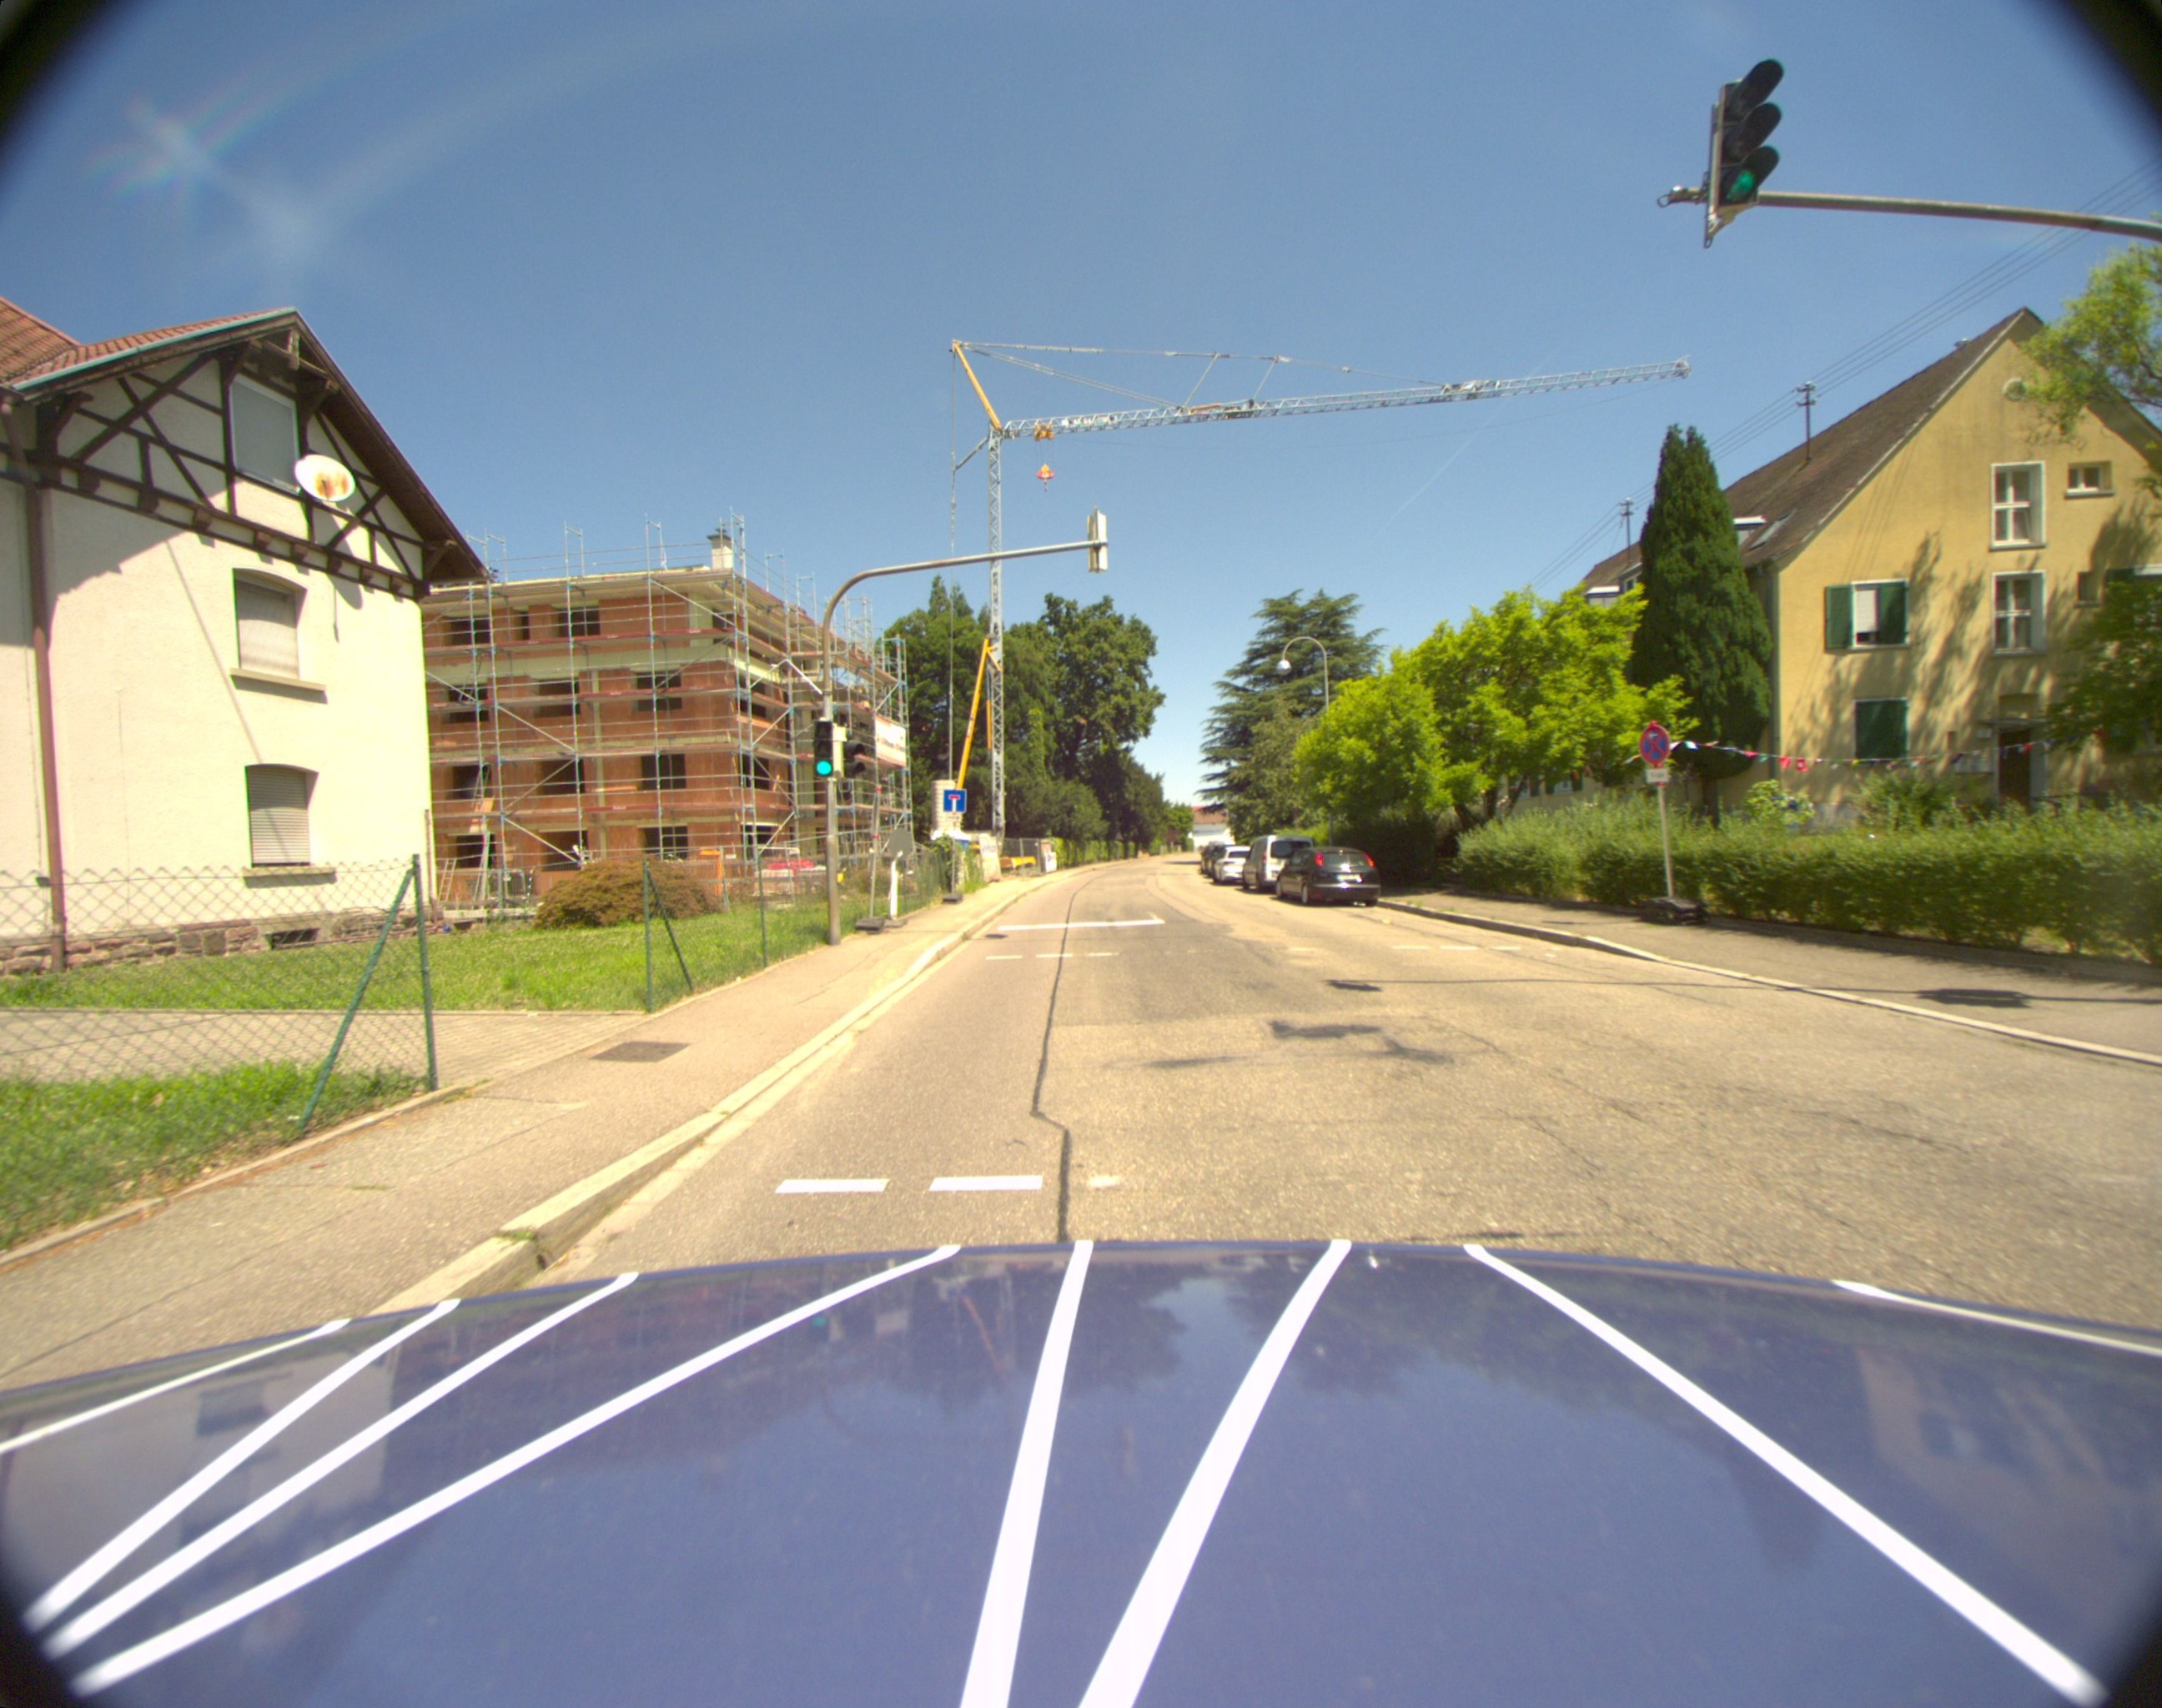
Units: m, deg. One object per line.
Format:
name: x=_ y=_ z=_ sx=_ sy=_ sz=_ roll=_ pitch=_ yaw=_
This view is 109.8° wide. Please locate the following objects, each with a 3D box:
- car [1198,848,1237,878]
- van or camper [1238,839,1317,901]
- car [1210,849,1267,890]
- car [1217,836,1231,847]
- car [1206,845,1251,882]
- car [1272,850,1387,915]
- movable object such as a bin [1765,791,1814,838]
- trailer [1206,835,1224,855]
car: x=7.392 y=0.447 z=41.373 sx=1.684 sy=1.467 sz=4.331 roll=-1 pitch=1 yaw=5
van or camper: x=6.144 y=0.433 z=24.162 sx=1.685 sy=1.794 sz=3.985 roll=-1 pitch=1 yaw=3
car: x=6.031 y=0.557 z=29.514 sx=1.684 sy=1.433 sz=4.248 roll=-1 pitch=1 yaw=5
car: x=21.981 y=-1.898 z=116.564 sx=1.891 sy=1.749 sz=3.615 roll=0 pitch=1 yaw=13
car: x=6.959 y=0.399 z=36.208 sx=1.684 sy=1.628 sz=4.331 roll=-1 pitch=1 yaw=5
car: x=6.114 y=0.631 z=19.156 sx=1.685 sy=1.404 sz=3.926 roll=-1 pitch=1 yaw=1
movable object such as a bin: x=18.500 y=-1.015 z=19.854 sx=0.622 sy=1.190 sz=0.674 roll=-2 pitch=1 yaw=3
trailer: x=13.884 y=-0.951 z=78.706 sx=1.817 sy=2.022 sz=4.002 roll=0 pitch=1 yaw=10
